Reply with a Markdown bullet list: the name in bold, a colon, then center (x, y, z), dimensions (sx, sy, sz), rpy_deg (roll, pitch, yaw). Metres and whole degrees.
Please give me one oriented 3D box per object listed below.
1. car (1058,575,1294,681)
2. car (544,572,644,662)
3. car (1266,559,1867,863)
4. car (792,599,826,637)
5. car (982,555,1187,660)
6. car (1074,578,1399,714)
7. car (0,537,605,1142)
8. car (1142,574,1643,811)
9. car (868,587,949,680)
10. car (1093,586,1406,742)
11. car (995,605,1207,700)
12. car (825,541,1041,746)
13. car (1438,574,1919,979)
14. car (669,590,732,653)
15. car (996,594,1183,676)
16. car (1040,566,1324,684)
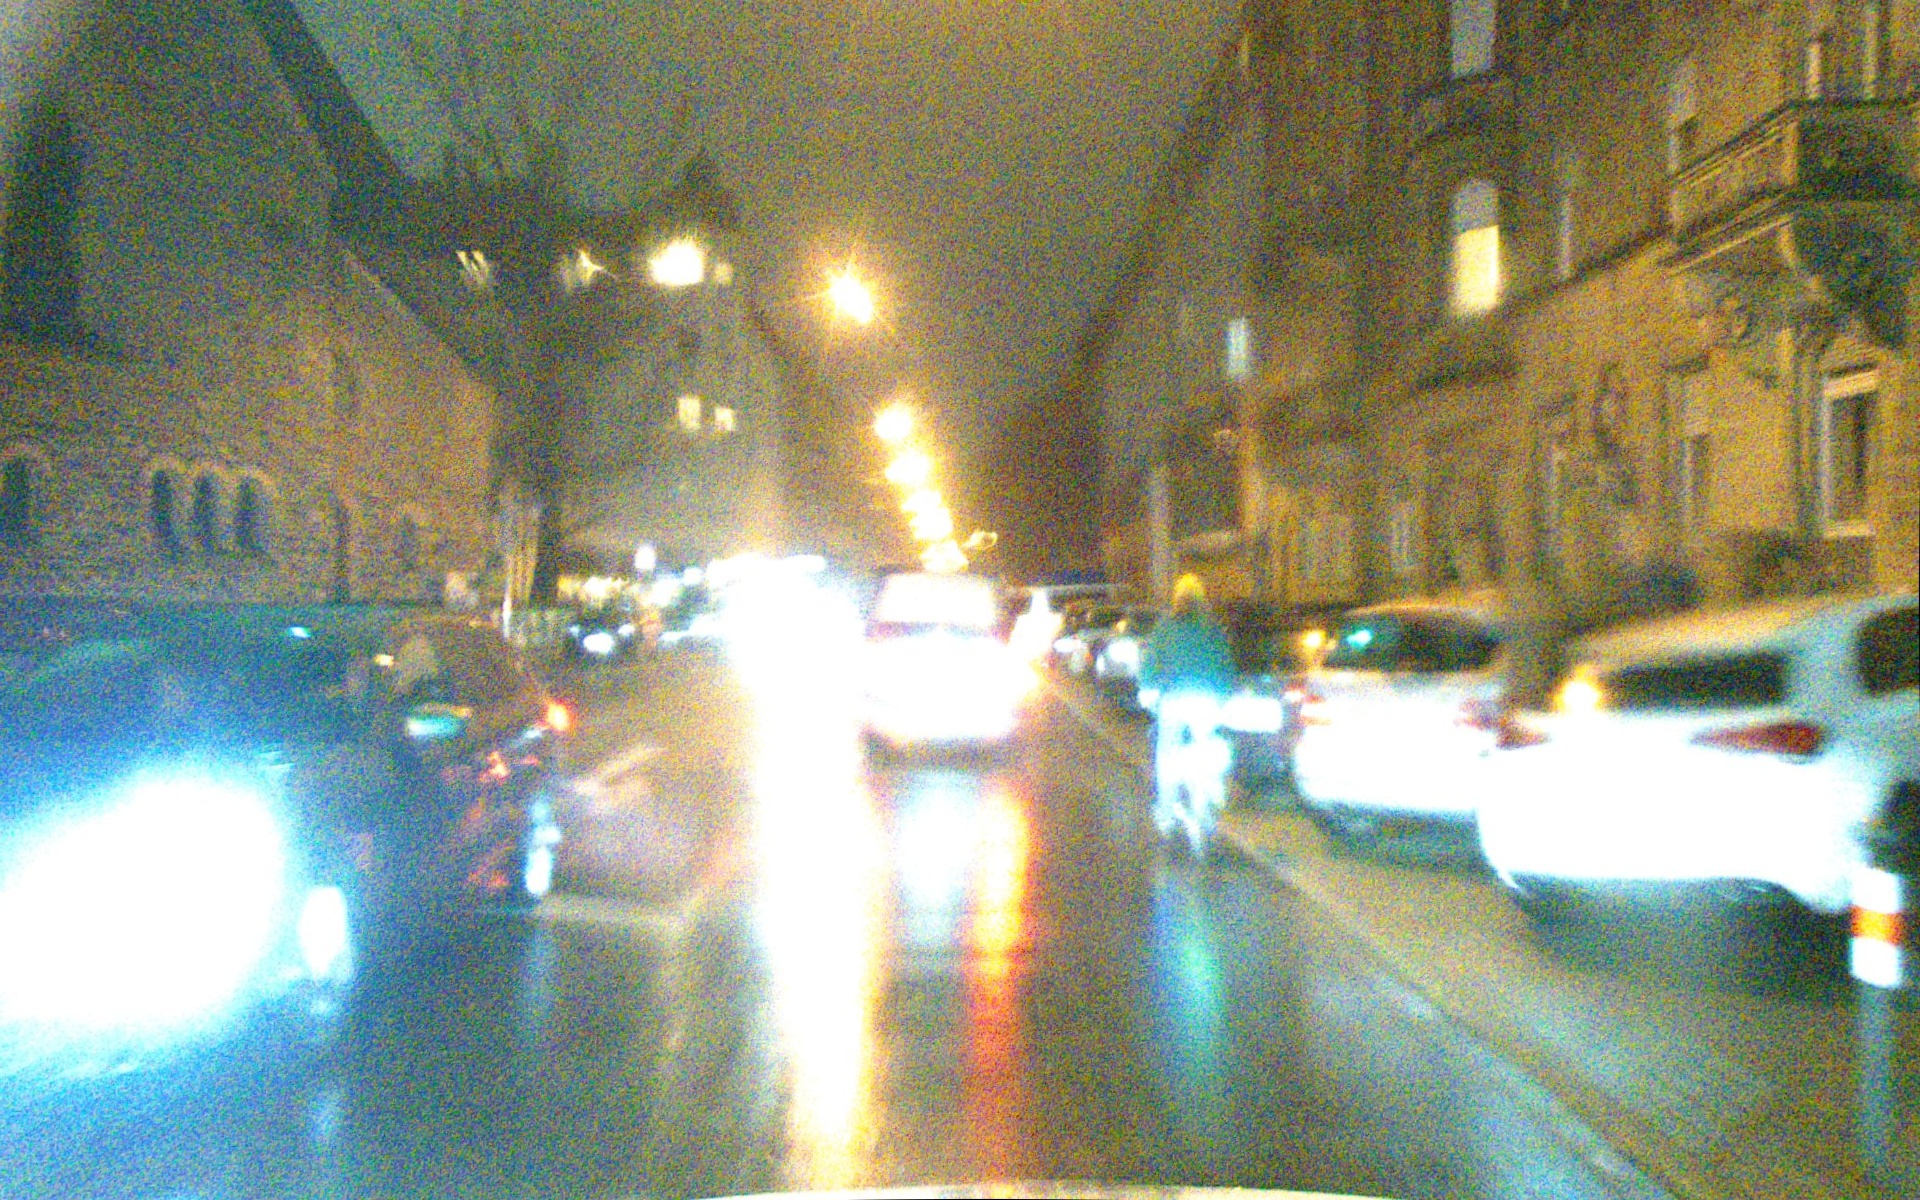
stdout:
- **car**: center (3.848, 0.446, 29.154), dimensions (4.144, 1.674, 1.745), rpy_deg (-2, 1, -39)
- **car**: center (-8.757, 0.386, 39.328), dimensions (1.960, 2.006, 4.280), rpy_deg (1, 0, -18)
- **car**: center (4.111, 0.569, 10.928), dimensions (4.144, 1.604, 1.856), rpy_deg (-2, 1, -39)
- **car**: center (-8.206, 0.983, 90.254), dimensions (1.690, 2.006, 4.217), rpy_deg (1, 0, -4)
- **car**: center (3.115, 0.138, 40.852), dimensions (4.960, 2.433, 2.110), rpy_deg (-2, 1, -39)
- **car**: center (3.815, 0.577, 22.842), dimensions (4.113, 1.674, 1.759), rpy_deg (-1, 0, -21)
- **car**: center (-2.812, 0.632, 6.746), dimensions (1.751, 1.581, 4.853), rpy_deg (0, 0, -1)
- **car**: center (3.634, 0.641, 13.631), dimensions (4.136, 1.618, 1.710), rpy_deg (-2, 1, -34)
- **car**: center (-1.230, 0.727, 37.881), dimensions (1.690, 2.006, 4.217), rpy_deg (1, 0, -4)
- **car**: center (3.673, 0.709, 20.544), dimensions (4.150, 1.674, 1.636), rpy_deg (-2, 1, -42)
- **car**: center (2.843, 0.994, 32.918), dimensions (4.144, 1.674, 1.745), rpy_deg (-2, 1, -39)
- **car**: center (-0.278, 0.430, 18.416), dimensions (2.124, 2.006, 4.301), rpy_deg (0, 0, 0)
- **car**: center (4.385, 0.630, 8.193), dimensions (4.144, 1.483, 1.832), rpy_deg (-2, 1, -39)
- **car**: center (-8.563, 0.685, 54.346), dimensions (1.696, 2.006, 3.713), rpy_deg (1, 0, -15)
- **car**: center (2.968, 0.753, 37.400), dimensions (4.144, 1.674, 1.745), rpy_deg (-2, 1, -39)
- **car**: center (3.502, 0.353, 26.135), dimensions (4.113, 1.674, 1.759), rpy_deg (-1, 0, -21)
